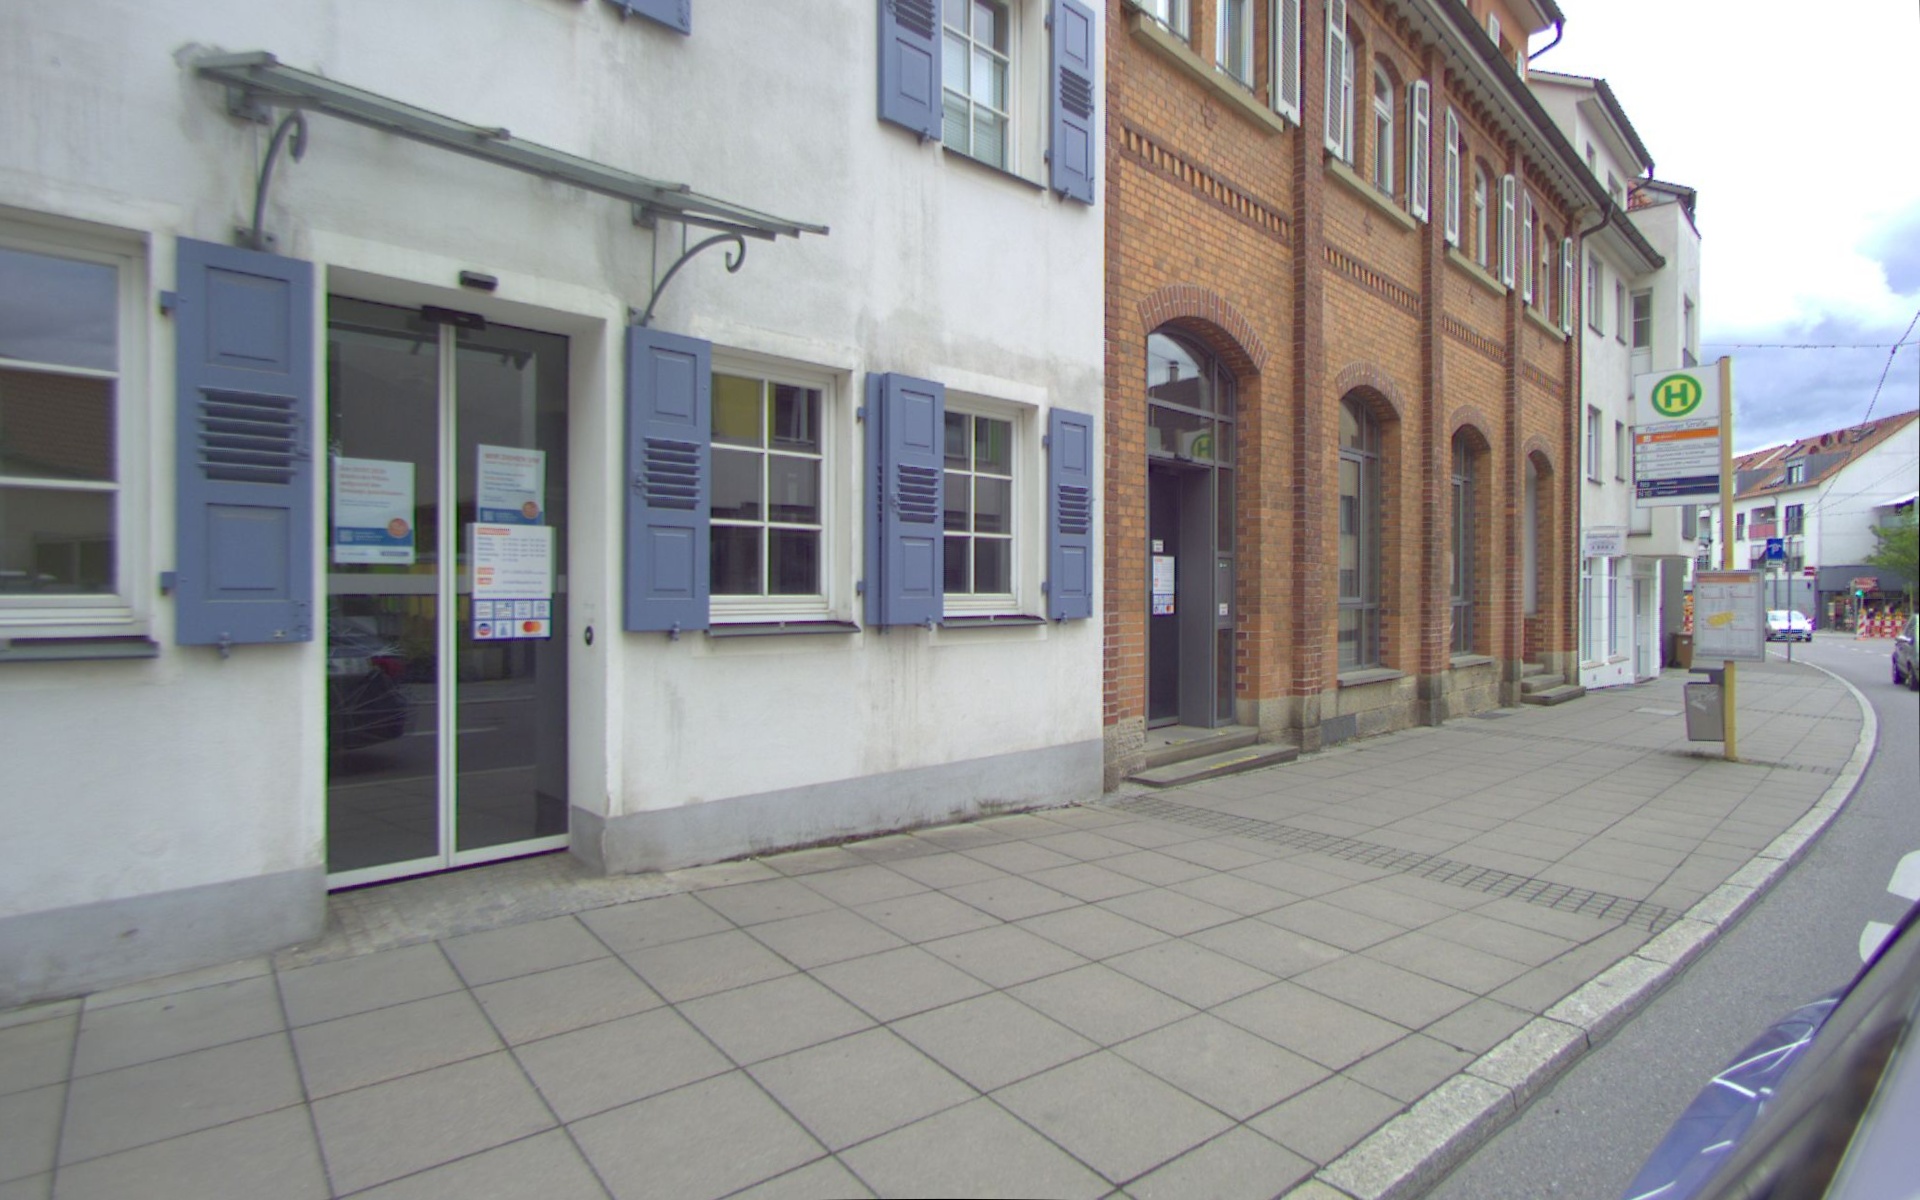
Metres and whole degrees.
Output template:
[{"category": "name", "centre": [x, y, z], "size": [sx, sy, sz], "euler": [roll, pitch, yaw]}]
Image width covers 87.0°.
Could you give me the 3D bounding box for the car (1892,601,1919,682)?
[{"category": "car", "centre": [21.286, 0.878, 21.380], "size": [1.885, 1.648, 3.947], "euler": [2, 1, 36]}]

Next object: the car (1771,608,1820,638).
[{"category": "car", "centre": [39.745, 1.067, 48.204], "size": [1.748, 1.372, 3.943], "euler": [0, 0, 39]}]
